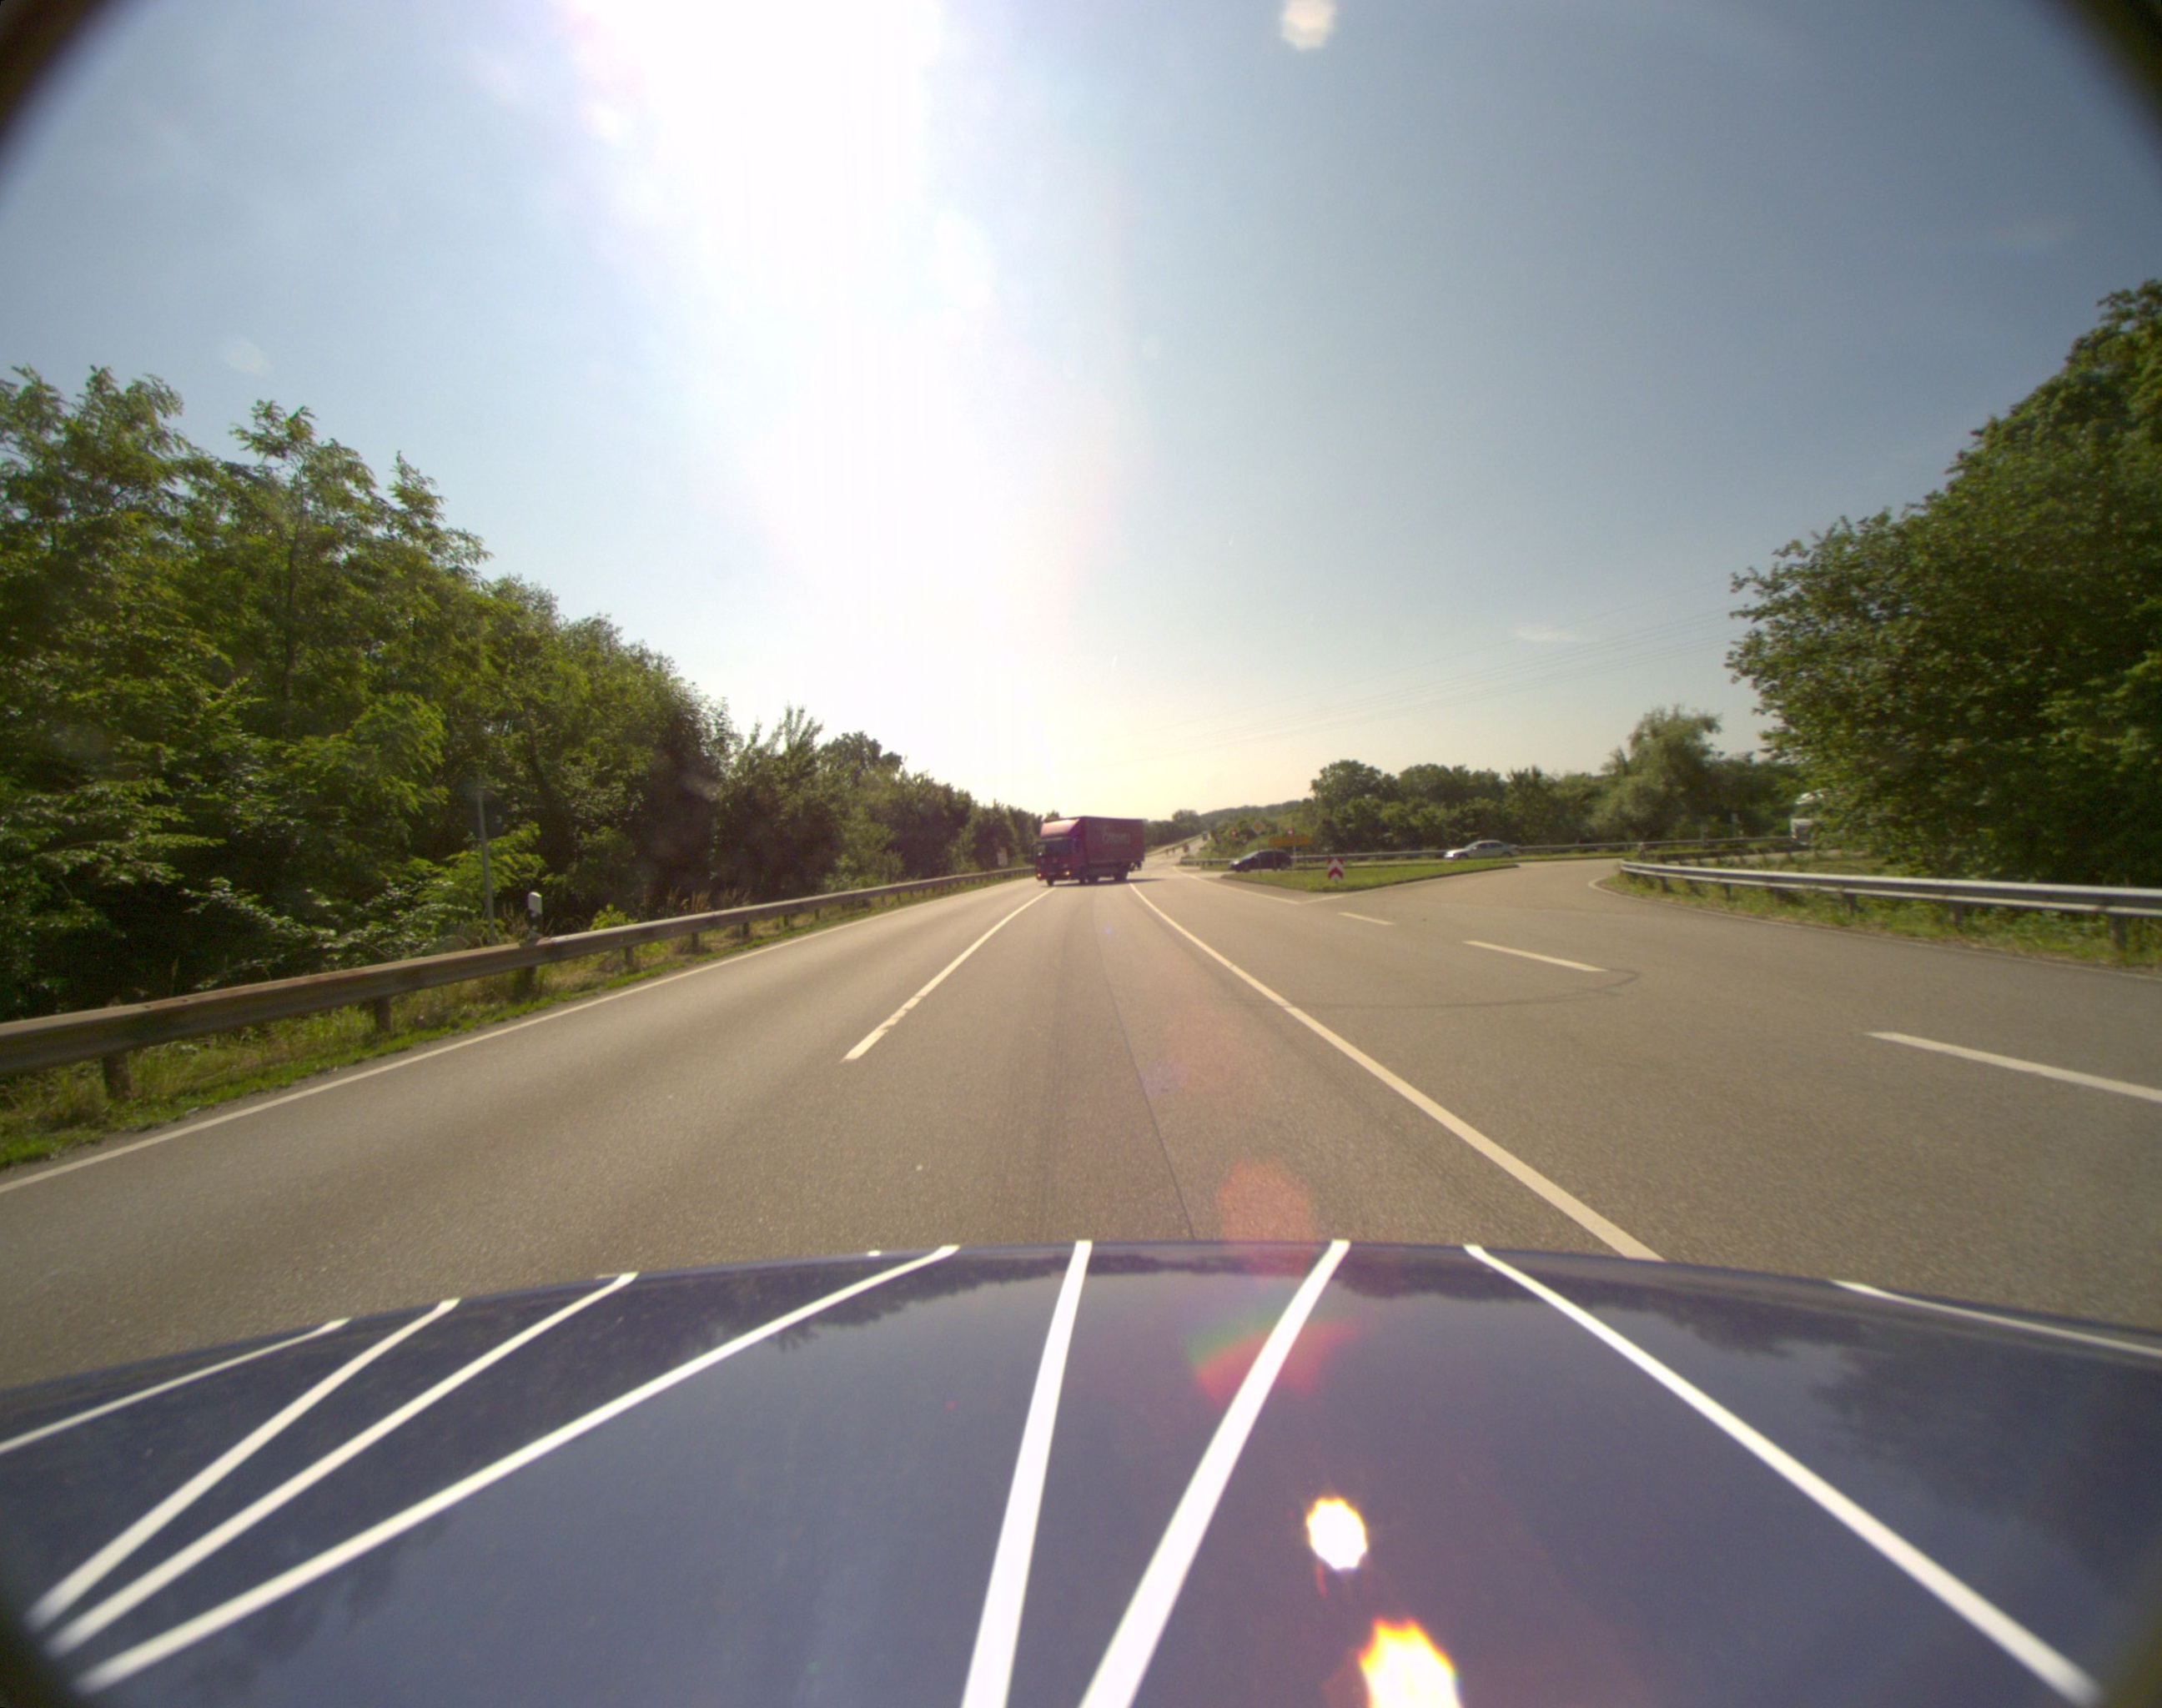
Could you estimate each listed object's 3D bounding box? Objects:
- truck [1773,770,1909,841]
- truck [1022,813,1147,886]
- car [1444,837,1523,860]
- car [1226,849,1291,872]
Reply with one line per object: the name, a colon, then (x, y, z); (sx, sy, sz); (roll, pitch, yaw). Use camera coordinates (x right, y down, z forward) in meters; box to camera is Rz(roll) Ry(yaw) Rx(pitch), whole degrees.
truck: (49.035, -3.109, 49.161); (5.728, 4.215, 2.940); (-2, 3, 2)
truck: (0.495, -0.299, 43.144); (2.684, 3.640, 9.278); (-2, 0, 30)
car: (27.401, -0.359, 51.869); (4.371, 1.377, 1.790); (-2, 0, 12)
car: (12.213, 0.432, 52.382); (4.000, 1.406, 1.787); (-2, 0, -9)
